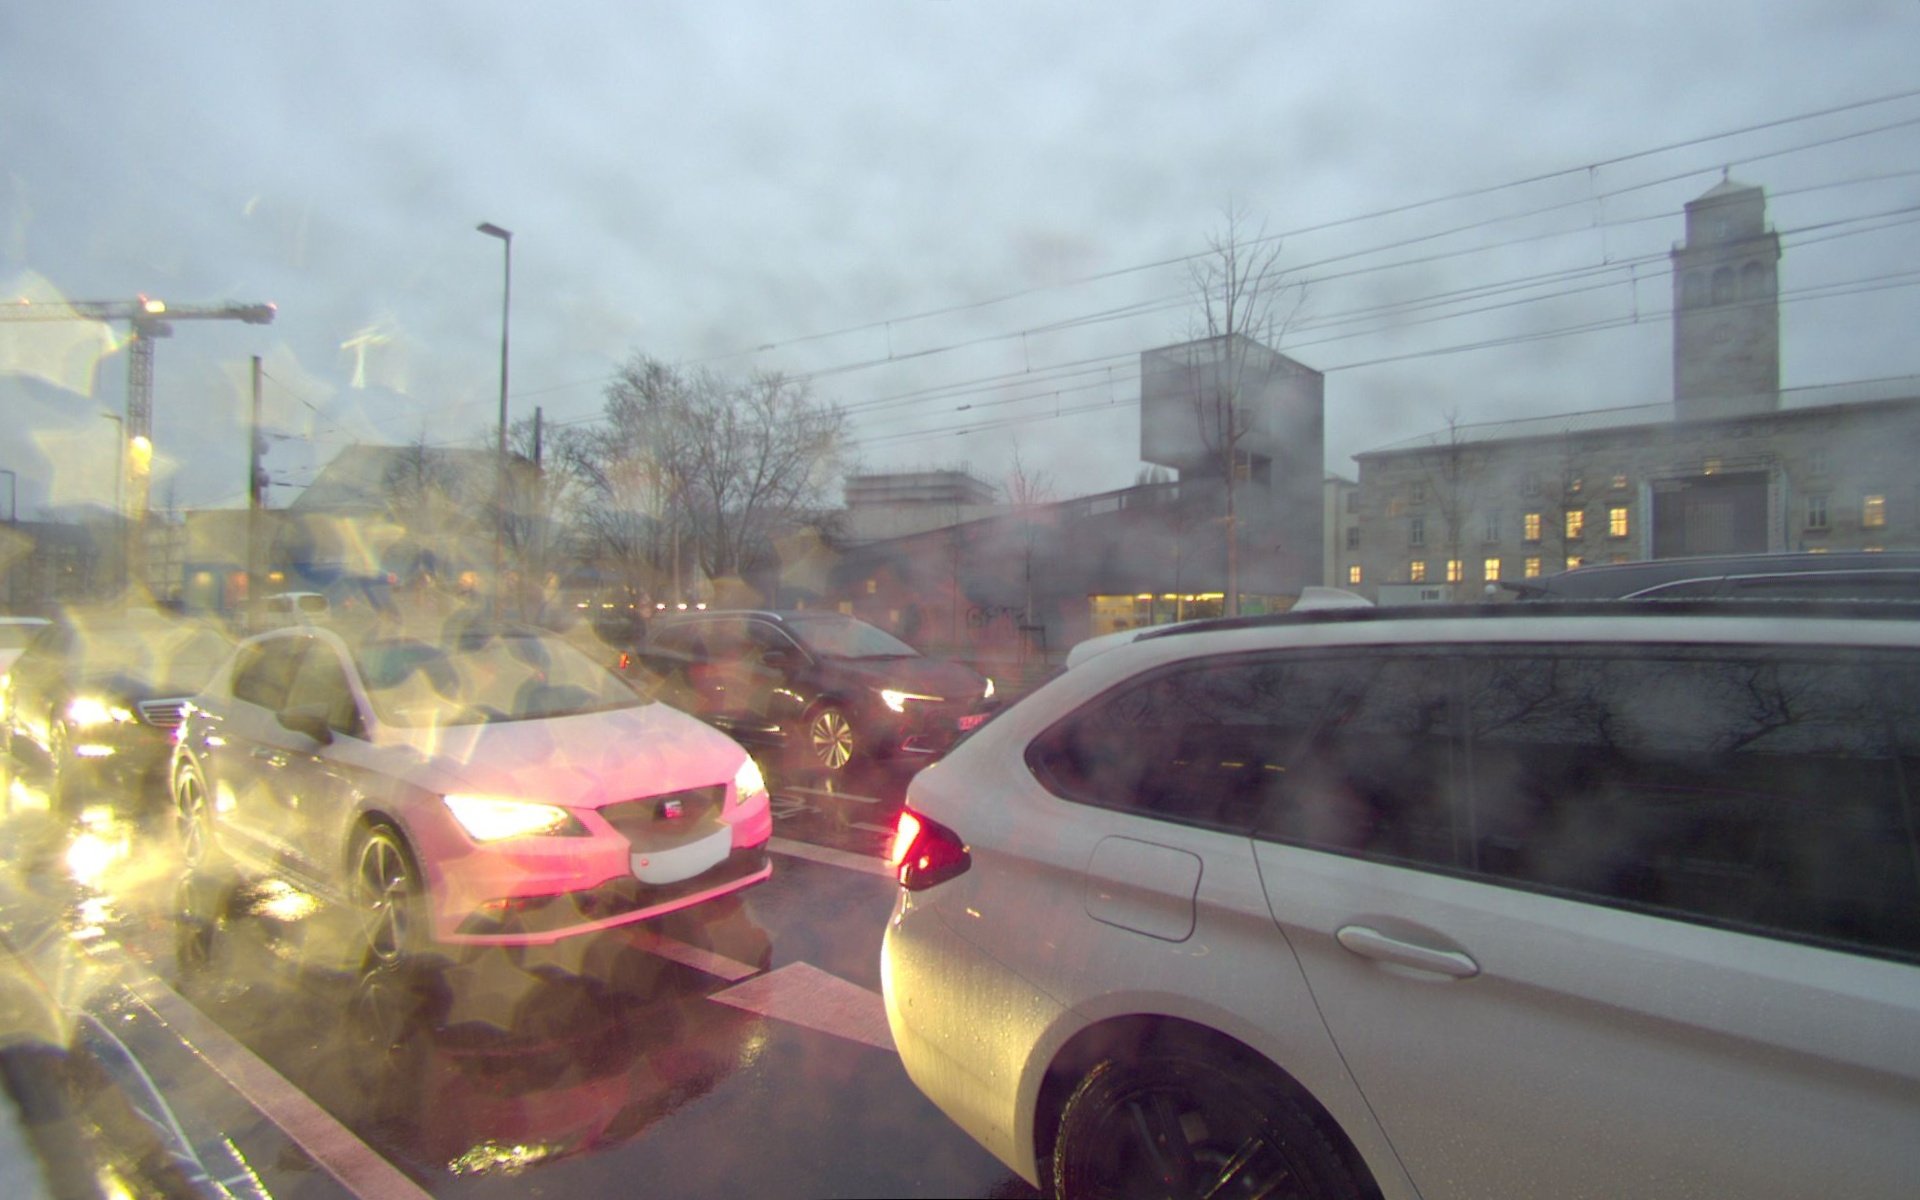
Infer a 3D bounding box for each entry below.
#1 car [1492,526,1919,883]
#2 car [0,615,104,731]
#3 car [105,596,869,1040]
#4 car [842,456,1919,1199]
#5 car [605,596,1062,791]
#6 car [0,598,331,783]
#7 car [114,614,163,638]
[{"bbox_3d":[5.236,0.475,4.996,4.289,1.596,1.946,-1,-1,42],"label":"car"},{"bbox_3d":[-14.695,1.042,15.478,3.998,1.586,1.882,-1,0,41],"label":"car"},{"bbox_3d":[-2.824,0.771,5.577,4.497,1.498,1.926,-1,0,37],"label":"car"},{"bbox_3d":[2.096,0.596,1.621,4.557,1.498,1.996,-1,-2,41],"label":"car"},{"bbox_3d":[-1.429,0.752,10.072,4.659,1.519,1.830,0,-1,39],"label":"car"},{"bbox_3d":[-8.431,0.788,10.426,4.501,1.498,1.974,-1,-2,39],"label":"car"},{"bbox_3d":[-67.875,2.123,83.627,3.989,1.910,2.072,-1,-2,34],"label":"car"}]
